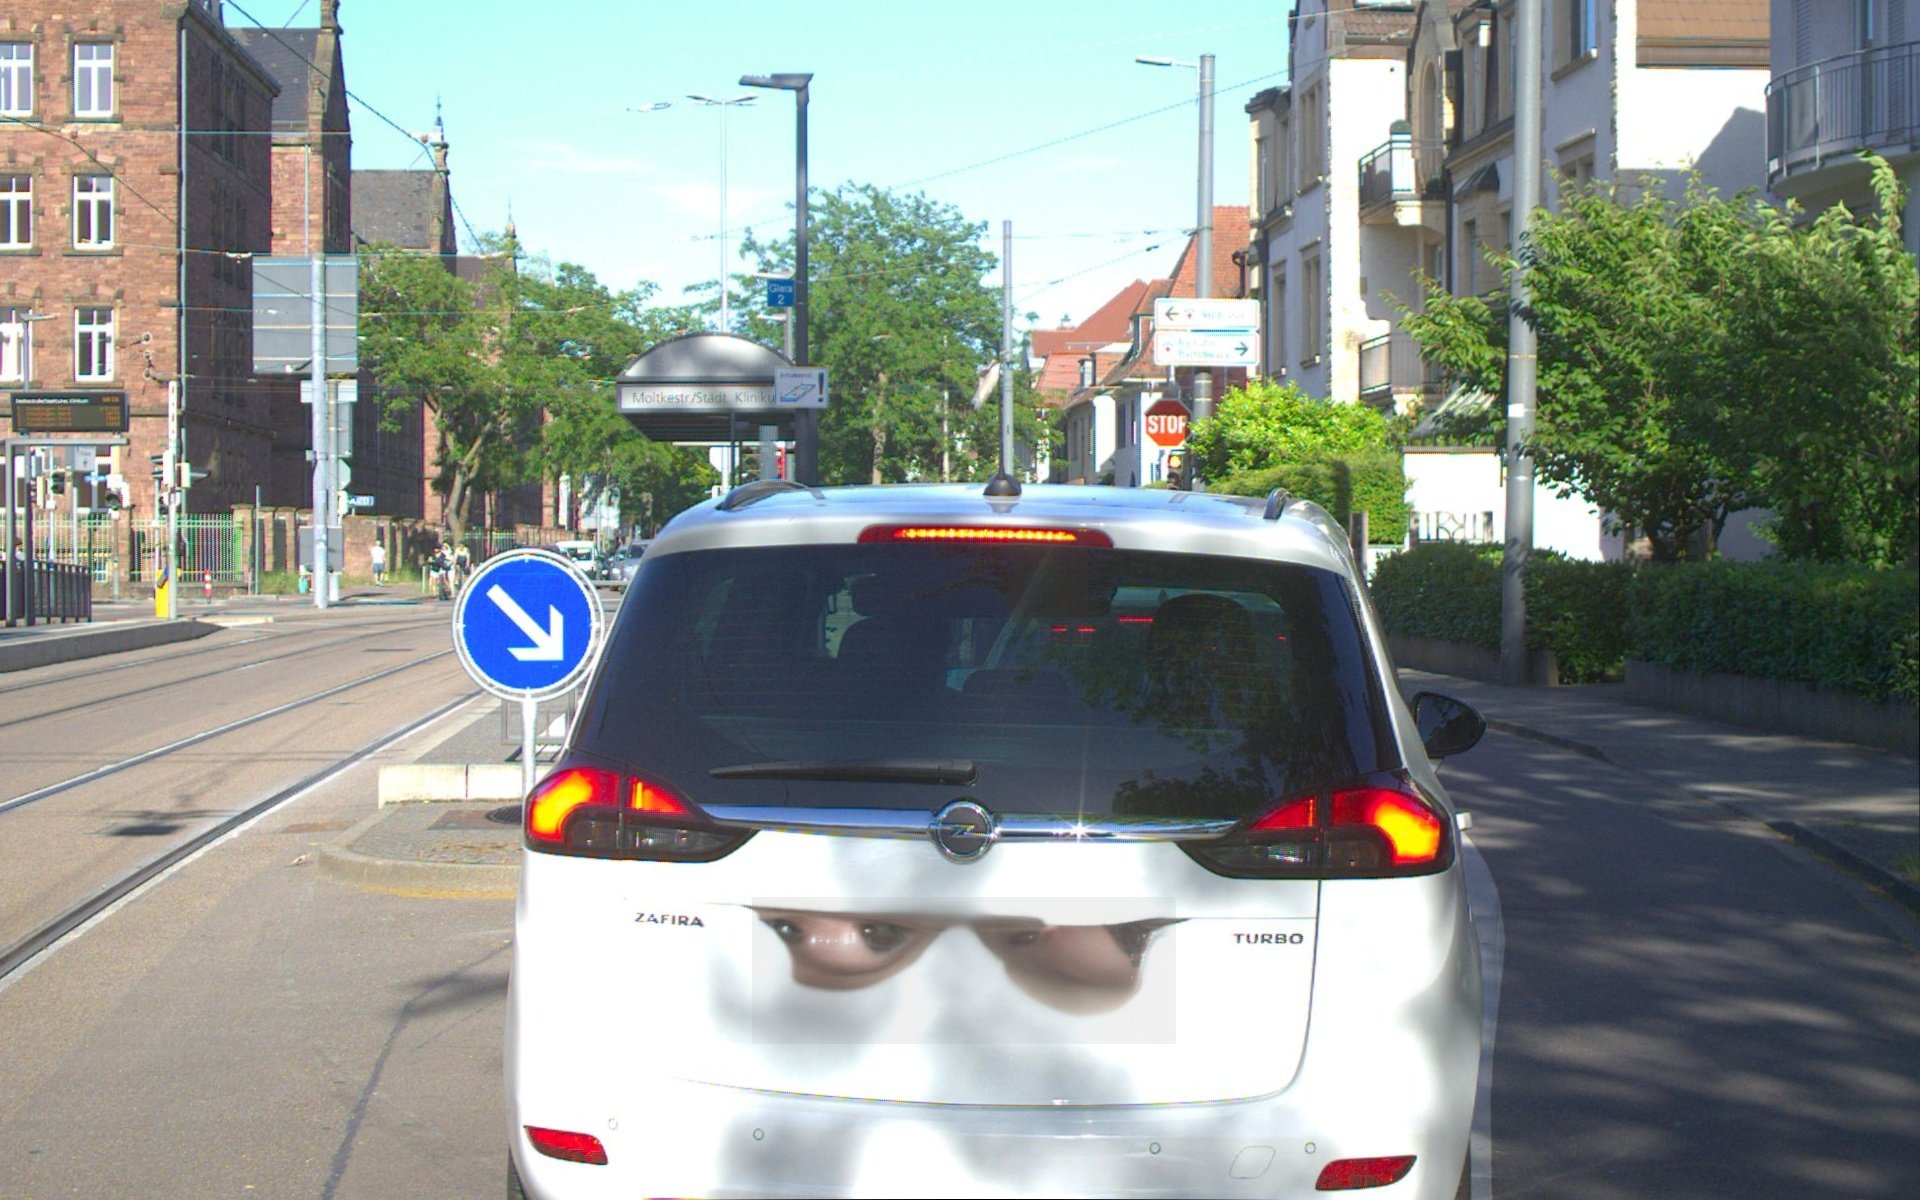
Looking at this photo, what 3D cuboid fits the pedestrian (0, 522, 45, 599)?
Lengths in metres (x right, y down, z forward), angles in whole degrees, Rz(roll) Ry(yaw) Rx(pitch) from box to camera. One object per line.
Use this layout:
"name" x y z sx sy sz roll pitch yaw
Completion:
"pedestrian" -20.718 -0.874 75.614 0.895 1.678 1.029 1 0 -1

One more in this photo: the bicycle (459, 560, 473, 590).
"bicycle" -15.688 -0.783 109.161 0.344 0.946 0.997 1 0 -4

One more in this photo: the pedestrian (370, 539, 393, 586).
"pedestrian" -21.201 -1.359 125.989 0.734 1.708 0.754 1 0 -6

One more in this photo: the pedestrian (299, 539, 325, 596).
"pedestrian" -19.659 -0.981 104.302 0.734 1.708 0.706 1 0 -9

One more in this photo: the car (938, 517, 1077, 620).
"car" 0.671 -0.490 51.755 1.993 1.497 4.000 0 1 -1

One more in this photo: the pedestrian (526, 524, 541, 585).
"pedestrian" -13.897 -1.481 111.960 0.444 2.007 0.496 0 1 -4

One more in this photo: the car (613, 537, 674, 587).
"car" -10.523 -1.275 114.413 1.993 1.623 4.001 0 1 -5

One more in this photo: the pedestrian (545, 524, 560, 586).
"pedestrian" -13.300 -1.476 112.244 0.444 2.007 0.496 0 1 -4

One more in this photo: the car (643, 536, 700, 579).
"car" -11.178 -1.668 133.380 1.993 1.623 4.001 0 1 -2

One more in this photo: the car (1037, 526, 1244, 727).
"car" 1.496 0.178 29.251 1.637 1.595 3.854 0 1 2

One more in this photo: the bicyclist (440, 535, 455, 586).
"bicyclist" -15.883 -1.225 106.562 0.444 1.548 0.496 0 1 -4

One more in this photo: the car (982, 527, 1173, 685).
"car" 1.178 0.024 36.174 1.830 1.574 4.010 0 1 -1

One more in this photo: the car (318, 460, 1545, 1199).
"car" 0.137 0.583 7.597 1.994 1.639 3.992 1 1 6

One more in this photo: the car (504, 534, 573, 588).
"car" -13.107 -1.229 107.083 1.993 1.623 4.001 0 1 -5

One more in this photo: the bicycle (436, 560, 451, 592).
"bicycle" -15.474 -0.719 103.079 0.344 0.946 1.160 1 0 -4

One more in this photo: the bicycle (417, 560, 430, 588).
"bicycle" -17.976 -0.875 115.136 0.344 0.946 0.997 1 0 -4

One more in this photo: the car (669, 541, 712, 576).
"car" -12.830 -1.966 163.391 1.993 1.623 3.989 0 1 -5

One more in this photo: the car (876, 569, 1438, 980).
"car" 0.746 0.589 13.978 1.953 1.392 4.000 0 1 2

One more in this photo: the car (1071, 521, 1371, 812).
"car" 1.494 0.330 20.823 1.637 1.595 3.854 0 1 2

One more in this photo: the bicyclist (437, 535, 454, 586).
"bicyclist" -15.465 -1.187 103.280 0.444 1.548 0.743 0 1 -4

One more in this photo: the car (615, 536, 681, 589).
"car" -9.727 -1.193 107.306 1.993 1.623 4.001 0 1 -5

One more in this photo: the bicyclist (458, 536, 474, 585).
"bicyclist" -15.679 -1.248 109.147 0.444 1.548 0.496 0 1 -4

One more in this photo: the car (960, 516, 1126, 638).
"car" 1.023 -0.320 44.295 1.993 1.497 4.000 0 1 -1

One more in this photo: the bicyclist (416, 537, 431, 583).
"bicyclist" -17.972 -1.340 115.093 0.444 1.548 0.496 0 1 -4

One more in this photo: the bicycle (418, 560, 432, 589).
"bicycle" -17.638 -0.851 113.307 0.344 0.946 0.997 1 0 -4
